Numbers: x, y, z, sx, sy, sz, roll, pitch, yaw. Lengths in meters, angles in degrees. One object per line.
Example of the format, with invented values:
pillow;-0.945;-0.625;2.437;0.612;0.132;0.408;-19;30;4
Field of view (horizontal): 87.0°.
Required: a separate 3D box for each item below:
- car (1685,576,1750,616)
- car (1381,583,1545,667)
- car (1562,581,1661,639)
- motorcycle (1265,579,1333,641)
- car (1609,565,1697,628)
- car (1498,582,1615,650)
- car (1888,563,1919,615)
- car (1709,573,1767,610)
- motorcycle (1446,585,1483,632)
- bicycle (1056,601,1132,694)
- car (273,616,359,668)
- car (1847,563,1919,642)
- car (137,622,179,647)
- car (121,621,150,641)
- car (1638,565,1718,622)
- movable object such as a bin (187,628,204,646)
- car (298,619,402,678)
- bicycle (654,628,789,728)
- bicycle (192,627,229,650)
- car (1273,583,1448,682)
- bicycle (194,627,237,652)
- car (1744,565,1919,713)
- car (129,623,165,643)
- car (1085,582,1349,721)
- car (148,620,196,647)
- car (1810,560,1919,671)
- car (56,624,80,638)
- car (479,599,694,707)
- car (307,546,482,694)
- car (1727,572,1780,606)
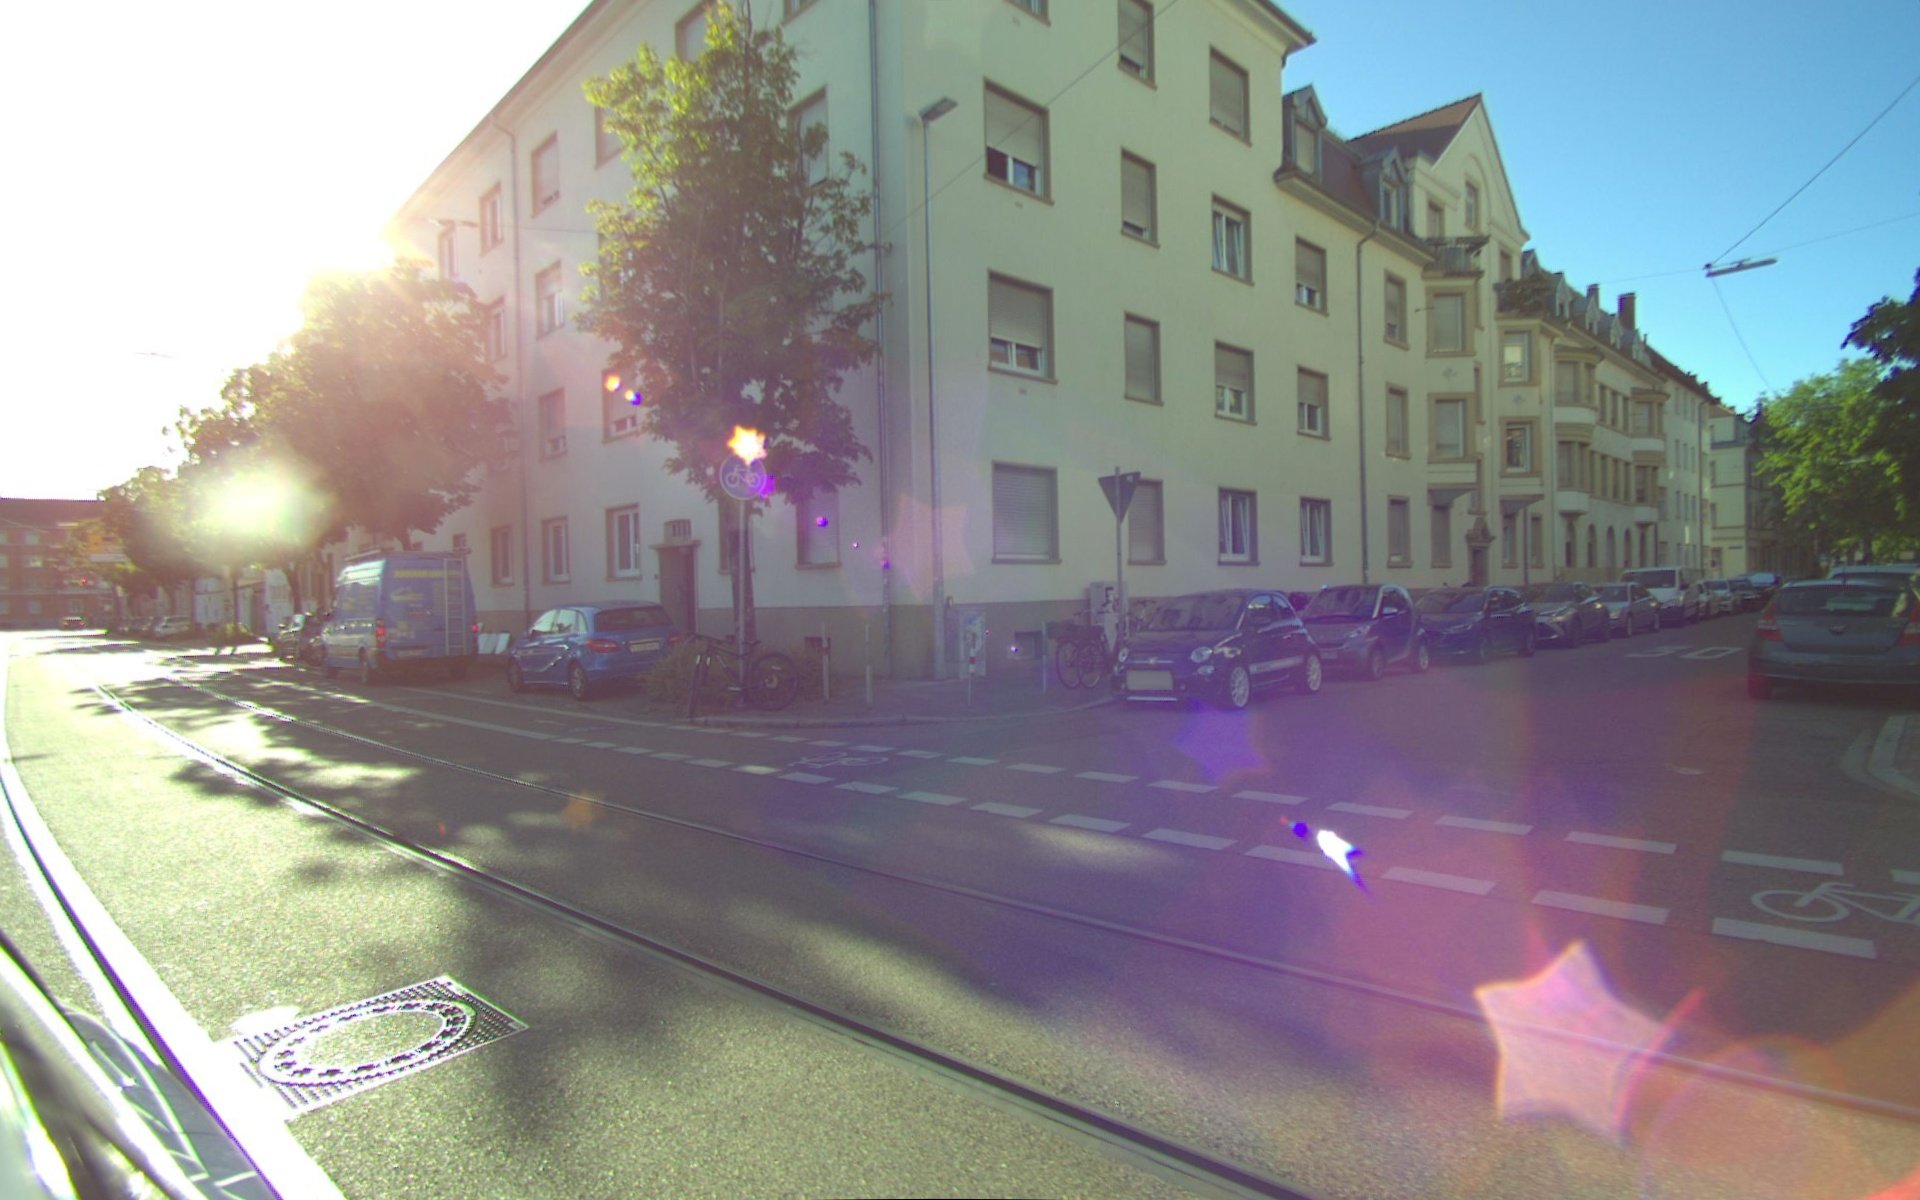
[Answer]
car;29.718;-0.163;39.670;1.579;1.469;3.469;-3;-1;44
car;9.887;0.421;19.746;1.711;1.469;4.121;-1;0;44
car;17.703;0.247;27.455;1.579;1.469;3.469;-3;-1;44
motorcycle;7.622;0.210;22.682;0.624;1.317;2.520;0;0;38
car;21.710;-0.124;31.665;1.741;1.848;3.469;-1;0;44
car;14.104;0.352;23.865;1.579;1.469;3.469;-3;-1;44
car;33.250;-0.422;34.753;1.908;1.665;3.943;-1;1;44
car;33.037;-0.360;42.951;1.579;1.469;3.469;-3;-1;44
motorcycle;15.241;0.252;30.528;0.536;1.316;2.210;-1;1;38
bicycle;1.995;0.670;14.938;0.397;1.238;1.487;2;3;38
car;-21.146;1.331;33.154;1.632;1.502;4.004;-3;1;-43
car;21.893;0.007;23.368;1.908;1.665;3.943;-1;1;44
car;-53.638;2.269;67.659;1.752;1.497;4.309;-3;1;-43
car;-68.027;2.552;83.450;1.553;1.516;4.004;-3;1;-43
car;24.650;-0.213;34.712;1.741;1.848;3.469;-1;0;44
movable object such as a bin;-43.214;2.089;57.198;0.575;0.966;0.703;-9;5;-43
car;-17.212;1.313;28.464;1.632;1.435;4.194;-3;1;-43
bicycle;-3.030;0.944;12.727;2.029;1.143;0.507;-1;1;40
bicycle;-37.800;1.923;51.053;0.659;1.047;1.789;-2;1;-6
car;6.736;0.479;16.860;1.578;1.469;3.470;-1;0;42
bicycle;-35.375;1.867;48.105;0.525;1.047;1.987;-2;1;1
car;11.324;0.377;12.697;1.908;1.541;3.943;-1;1;44
car;-63.727;2.562;79.274;1.851;1.439;4.297;-3;1;-43
car;3.515;0.571;13.411;1.768;1.469;3.845;-1;1;42
car;-48.347;2.005;62.069;1.843;1.501;4.665;-3;1;-44
car;15.834;0.189;17.147;1.908;1.665;3.943;-1;1;44
car;-99.739;3.442;113.124;1.745;1.474;4.750;0;0;-44
car;-6.609;0.831;17.590;1.770;1.572;4.646;-3;1;-44
car;-12.699;0.386;22.484;1.993;2.847;6.039;-3;1;-42
car;37.021;-0.518;47.166;1.579;1.469;3.469;-3;-1;44
